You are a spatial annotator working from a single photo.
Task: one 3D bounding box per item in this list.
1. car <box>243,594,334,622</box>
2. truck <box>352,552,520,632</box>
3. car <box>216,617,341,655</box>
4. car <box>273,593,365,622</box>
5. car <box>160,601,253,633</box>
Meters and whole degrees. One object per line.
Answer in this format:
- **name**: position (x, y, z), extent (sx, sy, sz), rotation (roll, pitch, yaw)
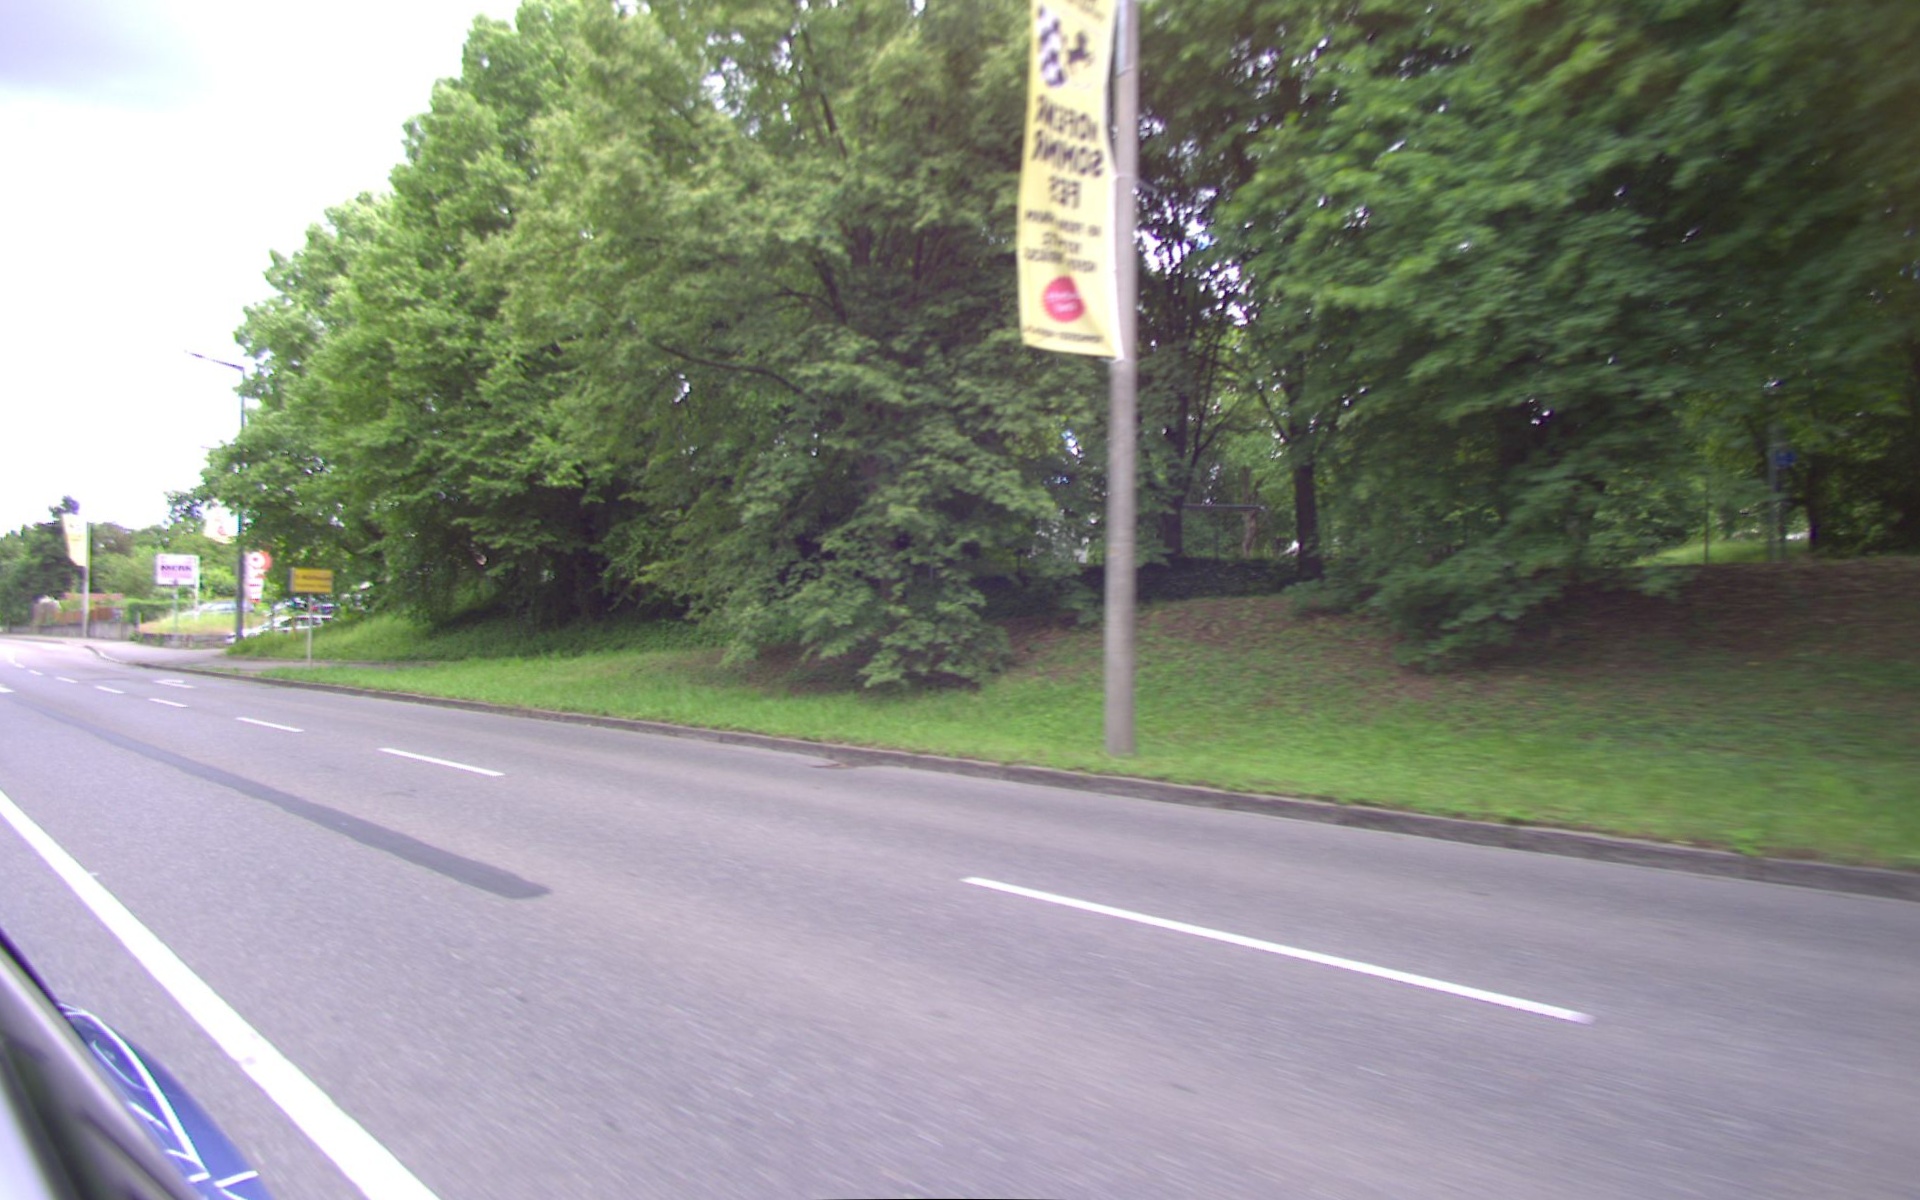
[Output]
- **car**: position (-37.613, 0.420, 56.754), extent (1.734, 1.519, 3.946), rotation (-1, 0, 41)
- **truck**: position (-25.499, -0.384, 49.515), extent (2.657, 3.657, 6.835), rotation (-1, 0, 41)
- **car**: position (-29.705, 1.549, 44.221), extent (1.746, 1.503, 4.169), rotation (-3, -2, 37)
- **car**: position (-35.361, 0.387, 55.894), extent (1.734, 1.519, 3.946), rotation (-1, 0, 41)
- **car**: position (-41.845, 0.916, 56.269), extent (1.878, 1.630, 3.855), rotation (-1, 0, 41)
